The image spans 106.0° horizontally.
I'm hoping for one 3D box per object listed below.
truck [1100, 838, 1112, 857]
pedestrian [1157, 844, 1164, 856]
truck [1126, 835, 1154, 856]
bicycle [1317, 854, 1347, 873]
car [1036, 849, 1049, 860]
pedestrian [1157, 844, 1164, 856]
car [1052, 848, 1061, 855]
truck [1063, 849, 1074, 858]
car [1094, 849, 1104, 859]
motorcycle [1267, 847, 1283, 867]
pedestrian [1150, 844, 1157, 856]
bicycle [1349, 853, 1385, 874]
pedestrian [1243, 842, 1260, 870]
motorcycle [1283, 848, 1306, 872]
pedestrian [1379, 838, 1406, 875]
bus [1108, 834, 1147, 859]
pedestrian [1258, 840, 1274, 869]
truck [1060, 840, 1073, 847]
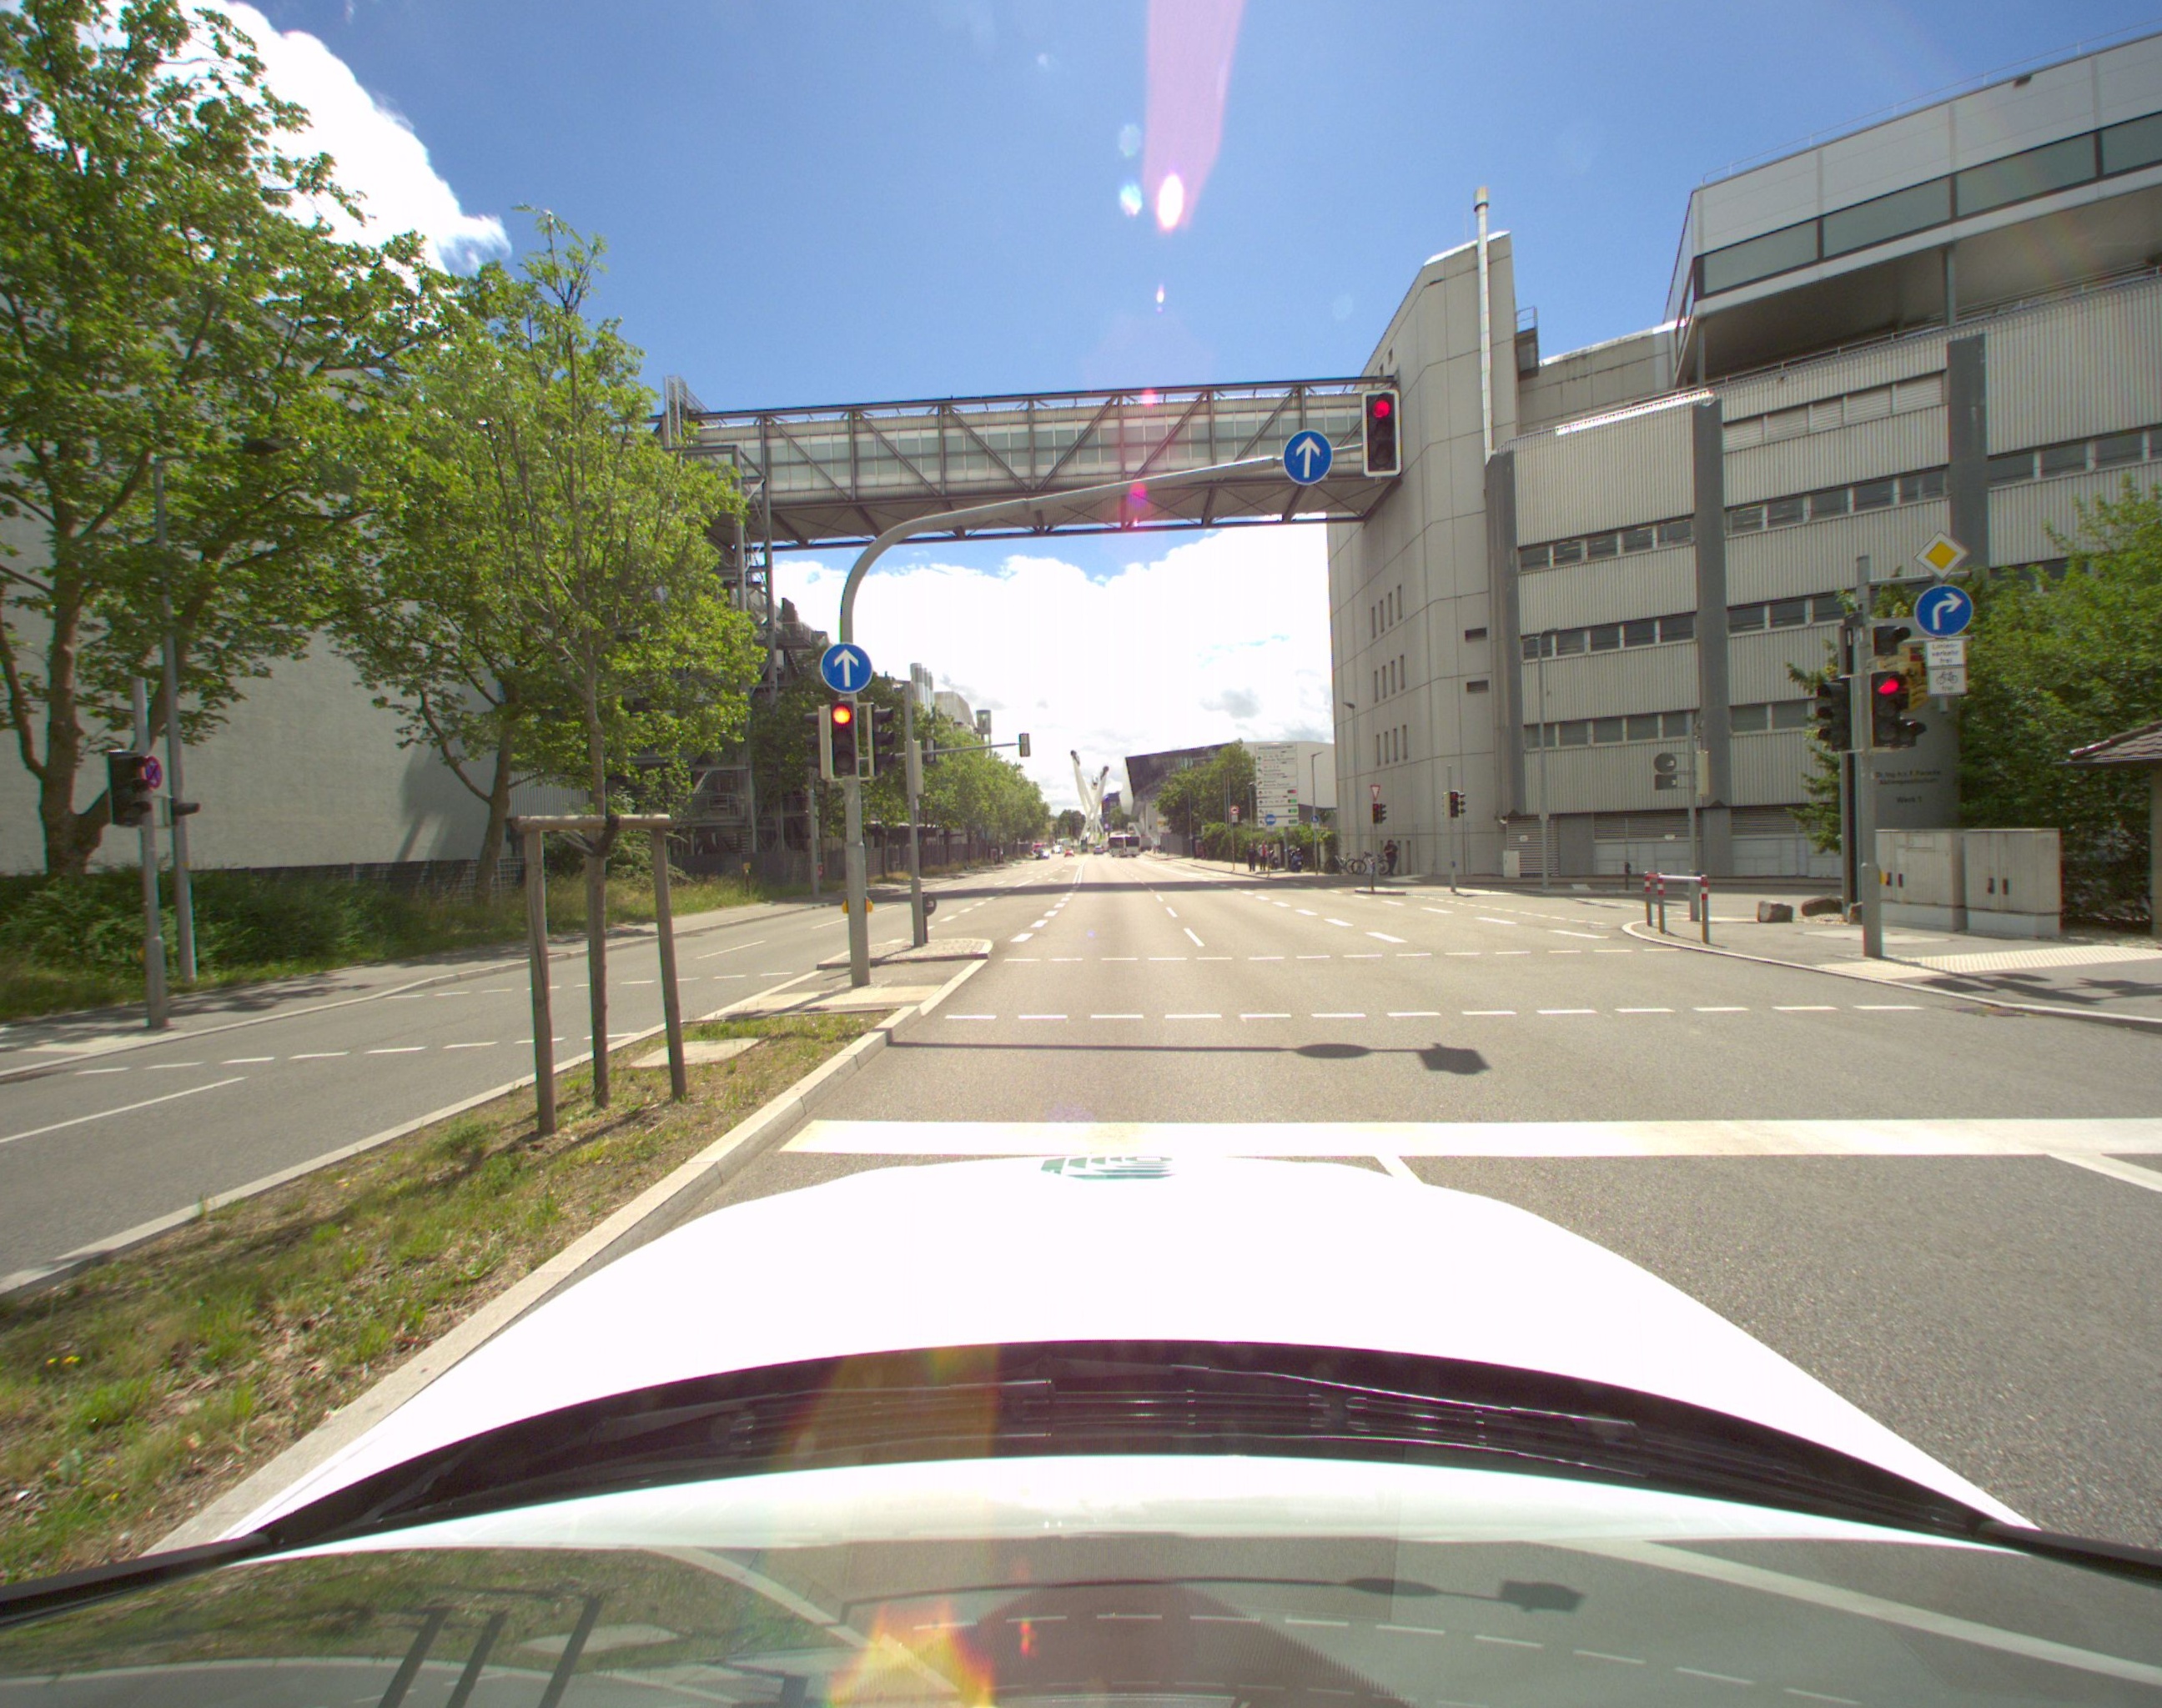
[{"bbox_3d":[5.315,-1.343,172.252,2.383,3.897,6.180,-1,0,2],"label":"truck"},{"bbox_3d":[13.512,-0.676,138.847,1.026,2.014,0.884,0,-1,-2],"label":"pedestrian"},{"bbox_3d":[12.528,-1.770,171.623,3.424,4.391,9.466,-1,0,19],"label":"truck"},{"bbox_3d":[12.546,0.454,40.805,0.398,0.937,1.917,-1,0,-17],"label":"bicycle"},{"bbox_3d":[-6.126,0.079,129.736,1.813,1.537,3.678,-3,0,0],"label":"car"},{"bbox_3d":[13.439,-0.696,137.774,1.026,2.014,0.884,0,-1,-2],"label":"pedestrian"},{"bbox_3d":[-5.450,-0.565,183.702,1.815,1.537,3.674,-3,0,-3],"label":"car"},{"bbox_3d":[-2.153,-0.067,138.083,1.580,1.537,3.673,-1,0,-4],"label":"truck"},{"bbox_3d":[3.273,-0.047,148.891,1.732,1.741,3.693,-1,0,2],"label":"car"},{"bbox_3d":[12.536,0.201,52.597,0.572,1.203,2.025,-3,1,2],"label":"motorcycle"},{"bbox_3d":[12.287,-0.667,137.867,1.026,2.014,0.884,0,-1,-2],"label":"pedestrian"},{"bbox_3d":[13.490,0.453,38.493,0.399,0.937,1.913,-1,0,-24],"label":"bicycle"},{"bbox_3d":[10.379,0.118,49.654,0.817,1.707,0.881,-1,0,1],"label":"pedestrian"},{"bbox_3d":[11.714,0.327,44.751,0.703,1.203,2.025,-3,1,2],"label":"motorcycle"},{"bbox_3d":[14.185,0.105,37.075,0.839,1.624,0.962,-1,0,43],"label":"pedestrian"},{"bbox_3d":[6.973,-1.106,124.352,3.453,3.543,10.569,-1,0,-10],"label":"bus"},{"bbox_3d":[11.277,0.050,49.708,0.817,1.741,0.637,-1,0,1],"label":"pedestrian"},{"bbox_3d":[-4.095,-2.978,232.606,1.744,2.013,4.469,-1,0,24],"label":"truck"}]
